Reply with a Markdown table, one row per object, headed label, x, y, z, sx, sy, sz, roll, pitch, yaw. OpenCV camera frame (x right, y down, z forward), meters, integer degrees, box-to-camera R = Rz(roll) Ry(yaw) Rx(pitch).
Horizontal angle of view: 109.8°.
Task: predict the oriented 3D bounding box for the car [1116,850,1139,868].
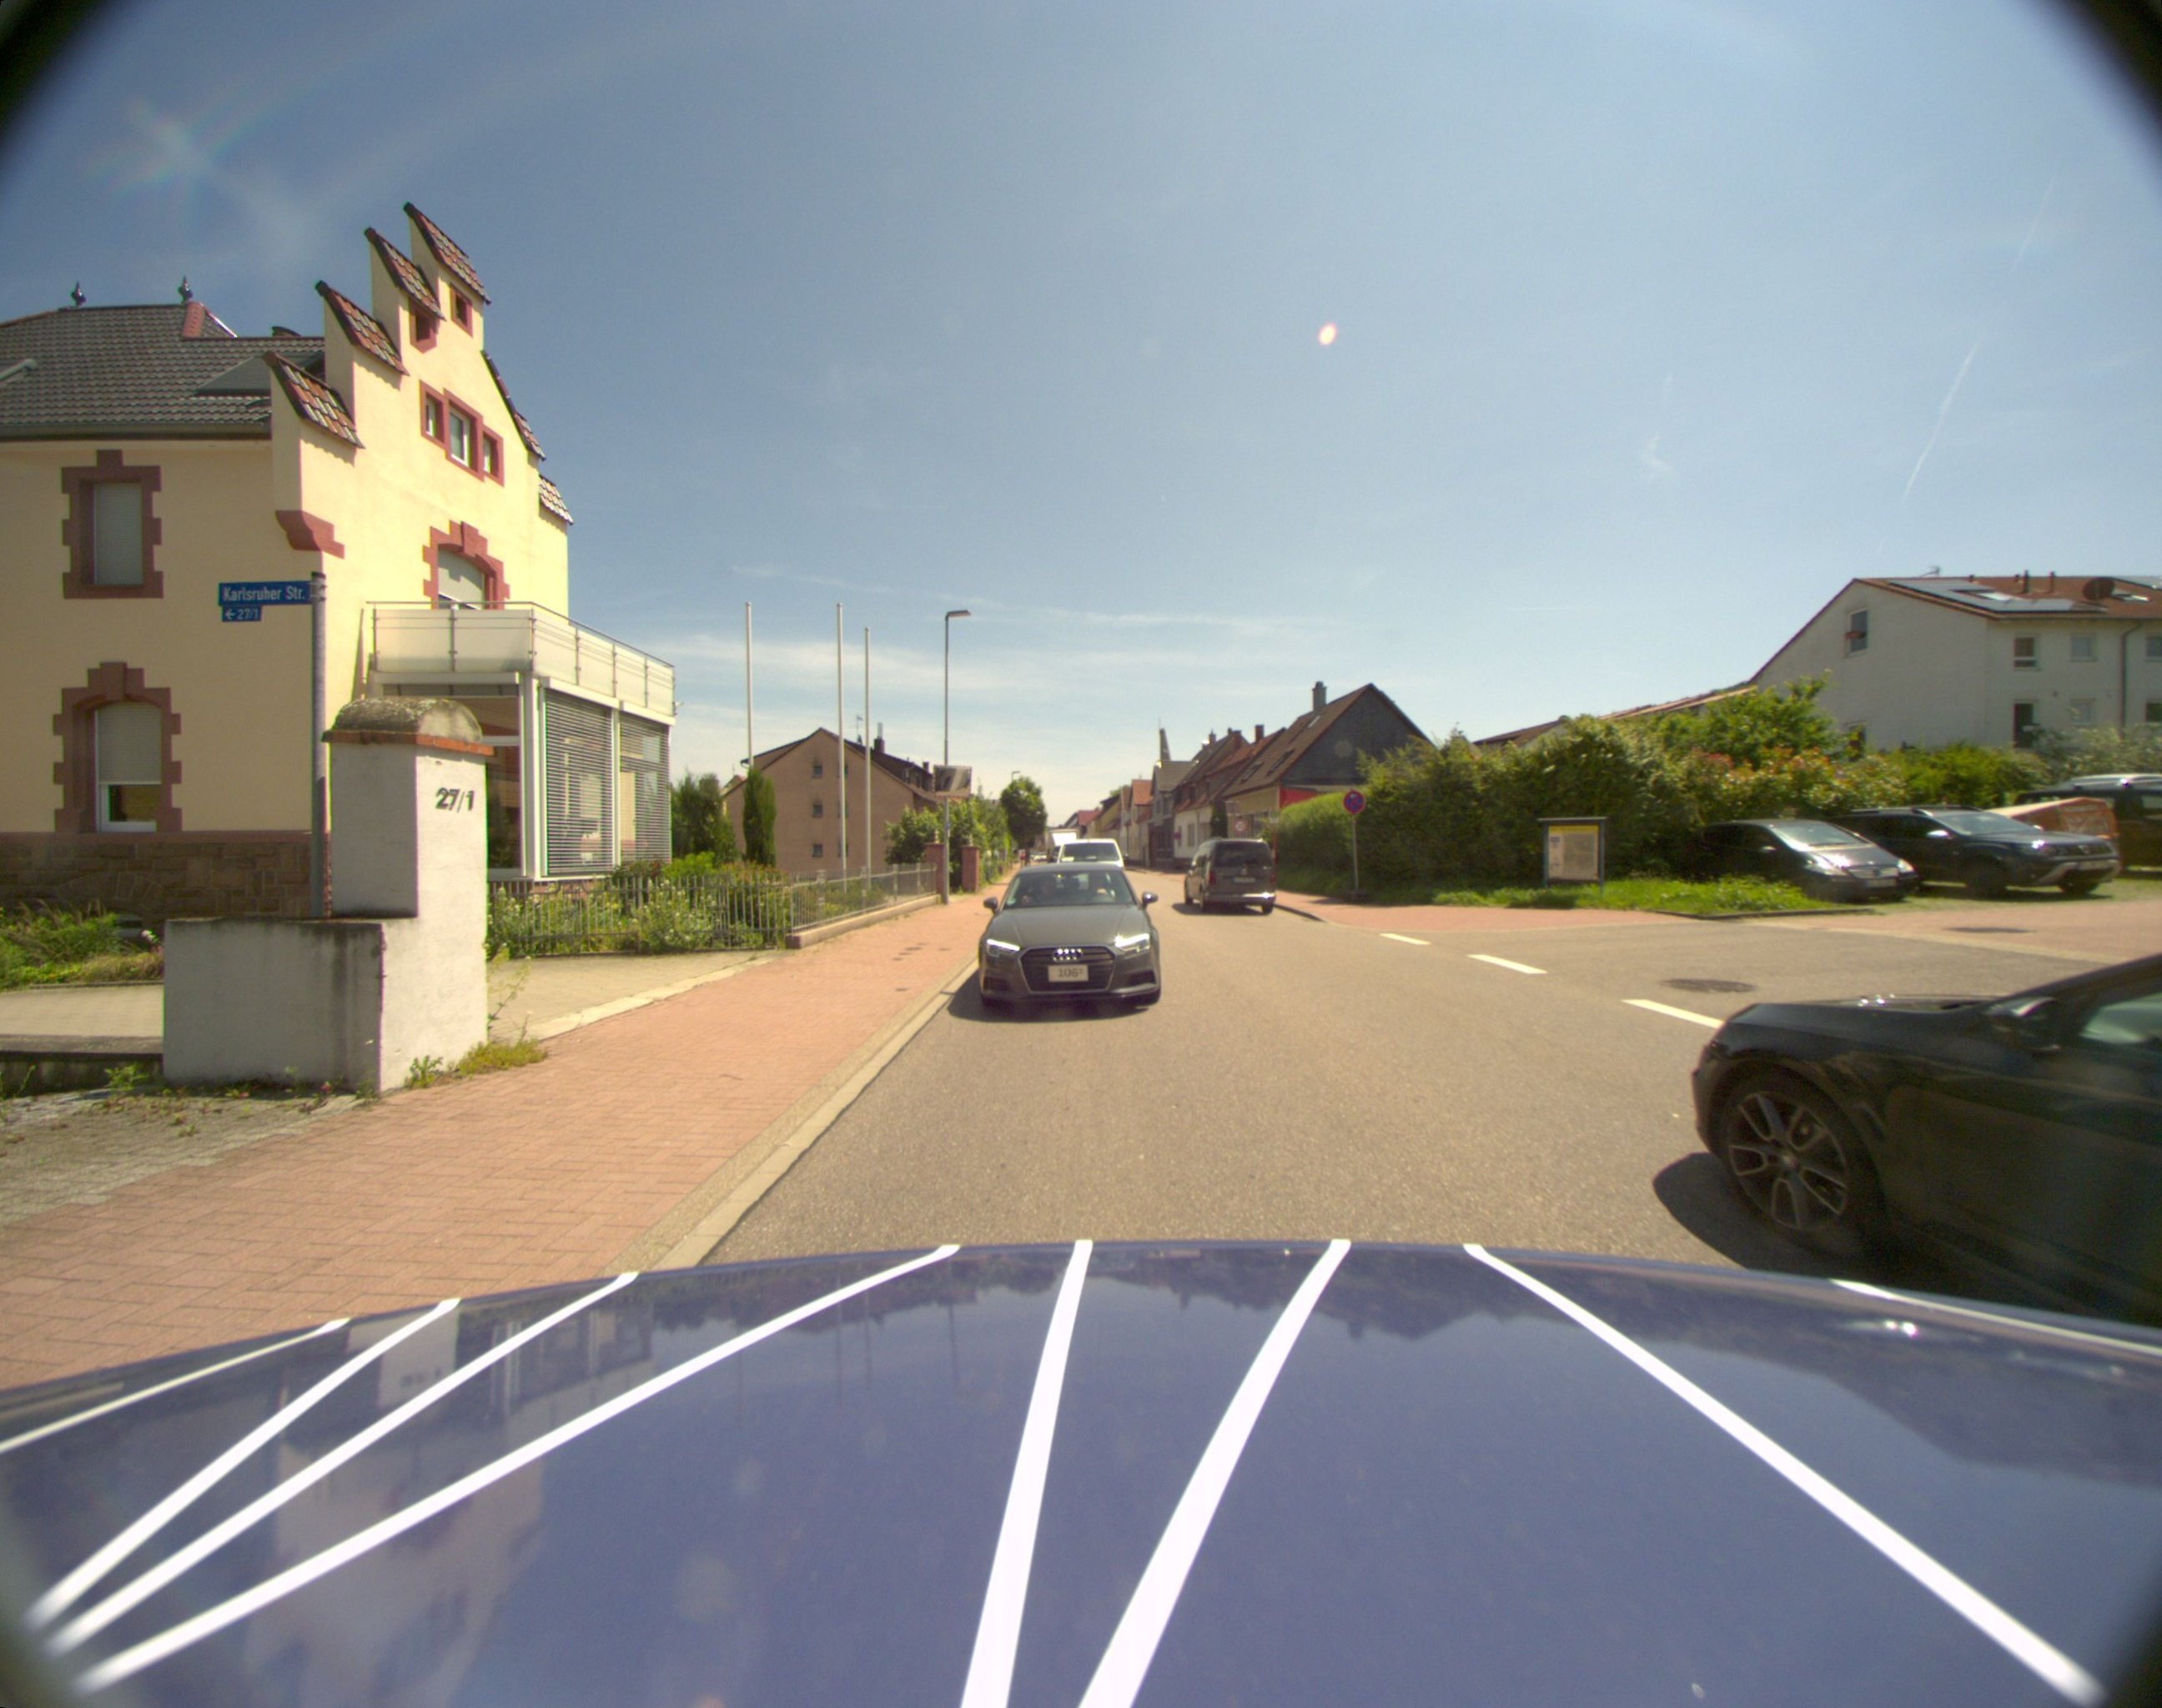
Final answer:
| label | x | y | z | sx | sy | sz | roll | pitch | yaw |
| --- | --- | --- | --- | --- | --- | --- | --- | --- | --- |
| car | 3.897 | 0.410 | 63.865 | 1.710 | 1.362 | 3.868 | 2 | 1 | 1 |

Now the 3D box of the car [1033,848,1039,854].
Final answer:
| label | x | y | z | sx | sy | sz | roll | pitch | yaw |
| --- | --- | --- | --- | --- | --- | --- | --- | --- | --- |
| car | -11.595 | -0.803 | 196.612 | 1.508 | 1.432 | 3.534 | -3 | 1 | -4 |

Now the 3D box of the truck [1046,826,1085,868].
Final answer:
| label | x | y | z | sx | sy | sz | roll | pitch | yaw |
| --- | --- | --- | --- | --- | --- | --- | --- | --- | --- |
| truck | -1.573 | -0.649 | 69.546 | 2.899 | 3.516 | 12.947 | -1 | 1 | -4 |

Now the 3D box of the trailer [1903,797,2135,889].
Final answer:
| label | x | y | z | sx | sy | sz | roll | pitch | yaw |
| --- | --- | --- | --- | --- | --- | --- | --- | --- | --- |
| trailer | 19.562 | -0.221 | 16.008 | 1.430 | 1.654 | 2.691 | -5 | 1 | -4 |

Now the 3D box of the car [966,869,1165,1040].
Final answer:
| label | x | y | z | sx | sy | sz | roll | pitch | yaw |
| --- | --- | --- | --- | --- | --- | --- | --- | --- | --- |
| car | -0.142 | 0.917 | 8.649 | 1.705 | 1.346 | 3.999 | -2 | 0 | 0 |

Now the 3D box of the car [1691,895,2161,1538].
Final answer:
| label | x | y | z | sx | sy | sz | roll | pitch | yaw |
| --- | --- | --- | --- | --- | --- | --- | --- | --- | --- |
| car | 3.414 | 0.915 | 1.061 | 1.723 | 1.438 | 4.255 | 1 | 0 | 1 |

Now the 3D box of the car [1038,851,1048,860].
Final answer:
| label | x | y | z | sx | sy | sz | roll | pitch | yaw |
| --- | --- | --- | --- | --- | --- | --- | --- | --- | --- |
| car | -6.619 | 0.210 | 132.529 | 1.508 | 1.432 | 3.534 | -3 | 1 | -4 |

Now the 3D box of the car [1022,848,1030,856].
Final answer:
| label | x | y | z | sx | sy | sz | roll | pitch | yaw |
| --- | --- | --- | --- | --- | --- | --- | --- | --- | --- |
| car | -11.040 | -0.373 | 152.757 | 1.637 | 1.572 | 3.568 | 1 | 0 | -4 |

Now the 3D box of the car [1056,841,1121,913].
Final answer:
| label | x | y | z | sx | sy | sz | roll | pitch | yaw |
| --- | --- | --- | --- | --- | --- | --- | --- | --- | --- |
| car | 0.155 | 0.574 | 21.437 | 1.637 | 1.833 | 3.569 | -1 | 1 | -1 |

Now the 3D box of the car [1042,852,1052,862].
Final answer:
| label | x | y | z | sx | sy | sz | roll | pitch | yaw |
| --- | --- | --- | --- | --- | --- | --- | --- | --- | --- |
| car | -5.259 | 0.442 | 117.322 | 1.508 | 1.432 | 3.534 | -3 | 1 | -4 |

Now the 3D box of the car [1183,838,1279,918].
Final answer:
| label | x | y | z | sx | sy | sz | roll | pitch | yaw |
| --- | --- | --- | --- | --- | --- | --- | --- | --- | --- |
| car | 3.801 | 0.552 | 19.971 | 1.660 | 1.844 | 4.464 | 1 | 1 | 1 |

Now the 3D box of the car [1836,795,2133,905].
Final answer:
| label | x | y | z | sx | sy | sz | roll | pitch | yaw |
| --- | --- | --- | --- | --- | --- | --- | --- | --- | --- |
| car | 17.049 | -0.088 | 14.632 | 1.627 | 1.770 | 3.511 | -3 | 1 | 4 |

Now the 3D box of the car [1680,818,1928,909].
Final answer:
| label | x | y | z | sx | sy | sz | roll | pitch | yaw |
| --- | --- | --- | --- | --- | --- | --- | --- | --- | --- |
| car | 14.294 | 0.151 | 15.344 | 1.627 | 1.532 | 3.652 | -3 | 1 | 4 |

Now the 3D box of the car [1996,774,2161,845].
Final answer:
| label | x | y | z | sx | sy | sz | roll | pitch | yaw |
| --- | --- | --- | --- | --- | --- | --- | --- | --- | --- |
| car | 27.154 | -1.179 | 20.359 | 3.639 | 1.724 | 1.420 | -3 | 1 | -1 |

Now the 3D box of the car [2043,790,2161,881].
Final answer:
| label | x | y | z | sx | sy | sz | roll | pitch | yaw |
| --- | --- | --- | --- | --- | --- | --- | --- | --- | --- |
| car | 21.976 | -0.407 | 14.970 | 1.627 | 1.771 | 3.551 | -3 | 1 | 4 |
